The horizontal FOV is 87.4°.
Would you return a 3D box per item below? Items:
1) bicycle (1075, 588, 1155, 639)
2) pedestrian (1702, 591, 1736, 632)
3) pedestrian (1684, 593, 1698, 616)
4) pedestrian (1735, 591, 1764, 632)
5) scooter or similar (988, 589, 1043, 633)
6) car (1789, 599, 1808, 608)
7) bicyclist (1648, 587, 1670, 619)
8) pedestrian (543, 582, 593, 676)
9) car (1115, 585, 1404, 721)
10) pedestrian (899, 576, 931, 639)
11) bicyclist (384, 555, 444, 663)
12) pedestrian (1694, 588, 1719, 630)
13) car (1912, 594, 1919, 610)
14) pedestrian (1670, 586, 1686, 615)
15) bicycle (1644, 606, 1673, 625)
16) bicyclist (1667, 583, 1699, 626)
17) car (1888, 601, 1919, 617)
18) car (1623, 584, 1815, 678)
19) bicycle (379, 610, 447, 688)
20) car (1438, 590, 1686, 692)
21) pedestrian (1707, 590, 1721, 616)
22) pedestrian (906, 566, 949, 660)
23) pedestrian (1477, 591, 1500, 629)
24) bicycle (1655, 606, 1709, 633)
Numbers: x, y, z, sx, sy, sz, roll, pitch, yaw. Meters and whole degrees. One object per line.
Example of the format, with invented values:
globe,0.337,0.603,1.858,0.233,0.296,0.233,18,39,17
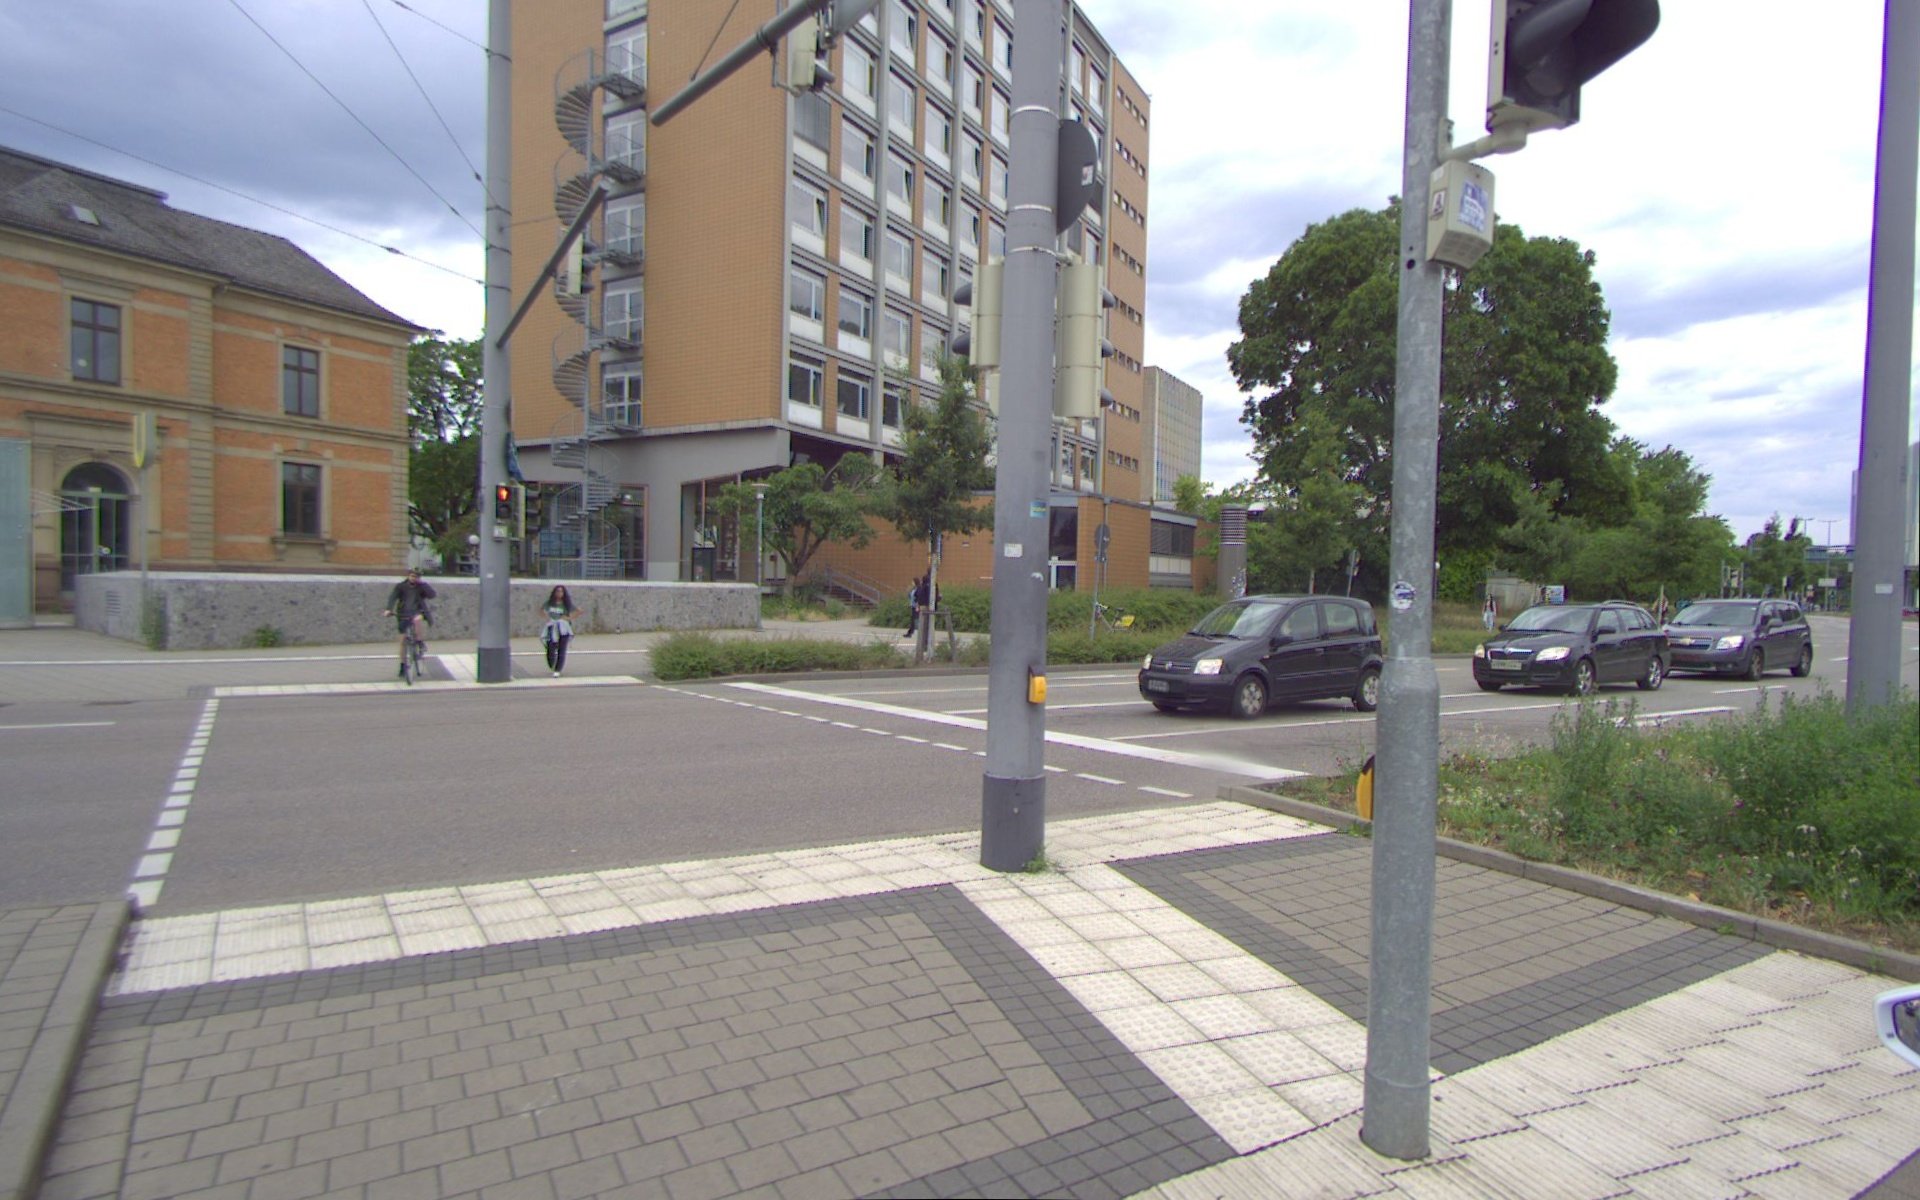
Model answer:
bicycle,4.670,0.402,30.245,2.213,1.468,0.848,1,1,-9
pedestrian,35.192,0.544,46.593,0.858,1.867,1.041,0,1,-36
pedestrian,57.724,0.353,79.363,0.747,1.789,0.900,2,1,44
pedestrian,37.144,0.525,47.237,0.661,1.867,0.886,0,1,-36
scooter or similar,1.704,0.322,31.089,0.626,1.320,1.752,0,1,-45
car,128.851,0.495,154.369,1.687,1.282,3.331,1,1,32
bicyclist,35.758,0.168,51.354,0.706,1.591,0.709,0,1,-39
pedestrian,-6.744,0.489,17.284,0.740,1.572,0.576,0,1,-29
car,3.908,0.606,12.979,3.624,1.536,1.609,0,0,-32
pedestrian,-1.292,0.210,28.881,0.677,1.757,0.743,0,1,-28
bicyclist,-8.838,0.135,16.281,0.783,1.679,0.810,0,3,-24
pedestrian,34.021,0.403,45.780,0.759,1.867,0.751,0,0,-36
car,100.238,0.217,103.636,1.964,1.662,3.992,1,1,30
pedestrian,49.984,0.037,69.914,0.747,2.041,1.040,2,1,44
bicycle,35.732,0.787,51.358,1.867,0.894,0.709,2,1,-39
bicyclist,32.008,0.192,44.481,0.818,1.869,0.791,1,1,-7
car,107.942,1.046,114.785,1.966,1.704,4.000,1,1,32
car,15.847,0.594,20.895,4.665,1.748,1.858,1,0,-35
bicycle,-8.877,0.759,16.362,0.784,1.042,2.107,1,3,-24
car,10.228,0.644,16.981,4.430,1.528,1.860,0,-1,-33
pedestrian,60.821,0.250,80.993,0.747,2.041,1.040,2,1,44
pedestrian,-0.725,0.280,22.037,0.650,2.007,0.815,0,1,-28
pedestrian,21.838,0.406,41.505,0.748,1.562,0.557,0,1,-37
bicycle,31.978,0.865,44.493,1.871,1.174,0.790,1,1,-7
